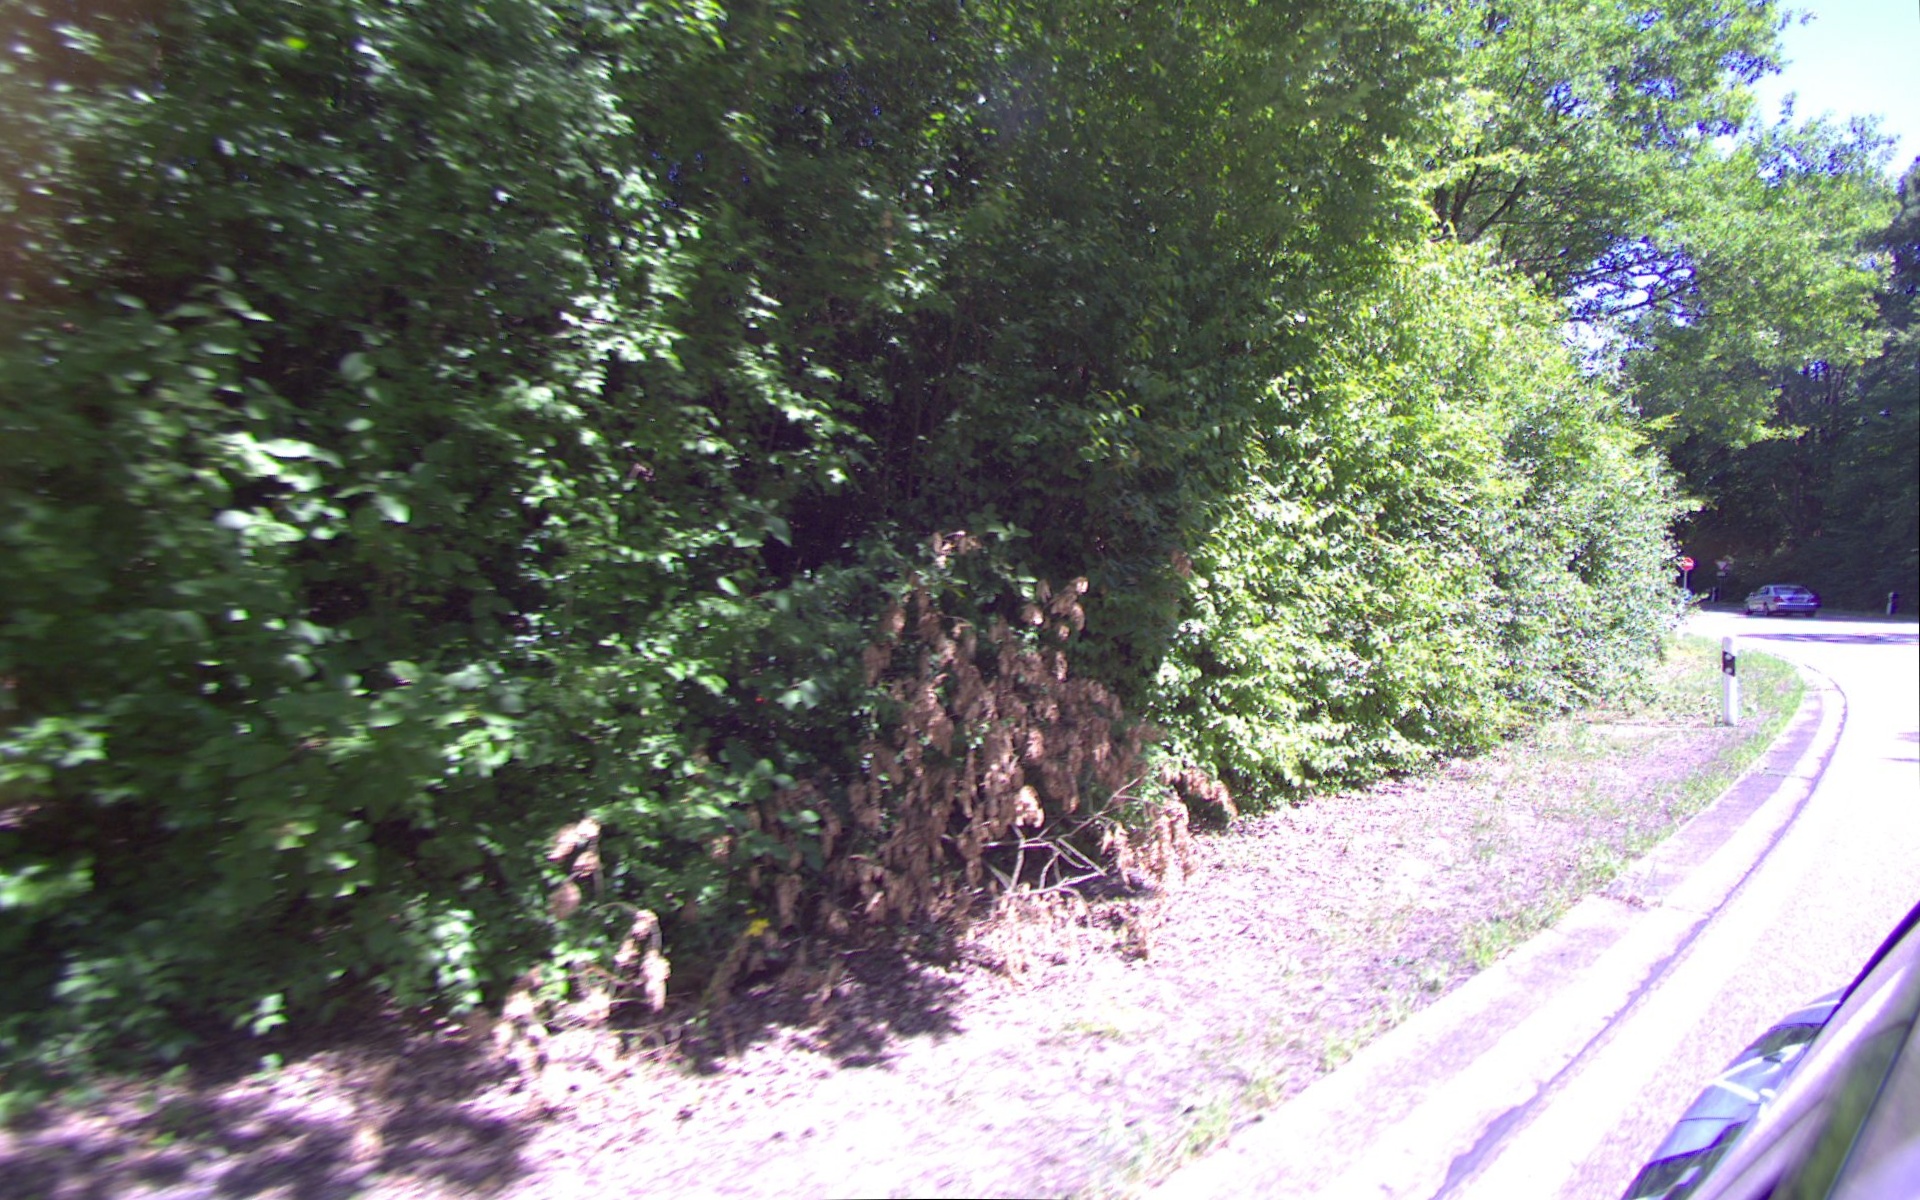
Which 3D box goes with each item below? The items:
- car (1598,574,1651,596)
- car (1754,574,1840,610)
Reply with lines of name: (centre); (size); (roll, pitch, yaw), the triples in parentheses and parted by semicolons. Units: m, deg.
car: (46.577, -1.093, 71.007); (1.768, 1.423, 4.343); (1, 2, 14)
car: (38.768, -0.403, 47.023); (1.832, 1.504, 4.727); (2, 2, 24)
